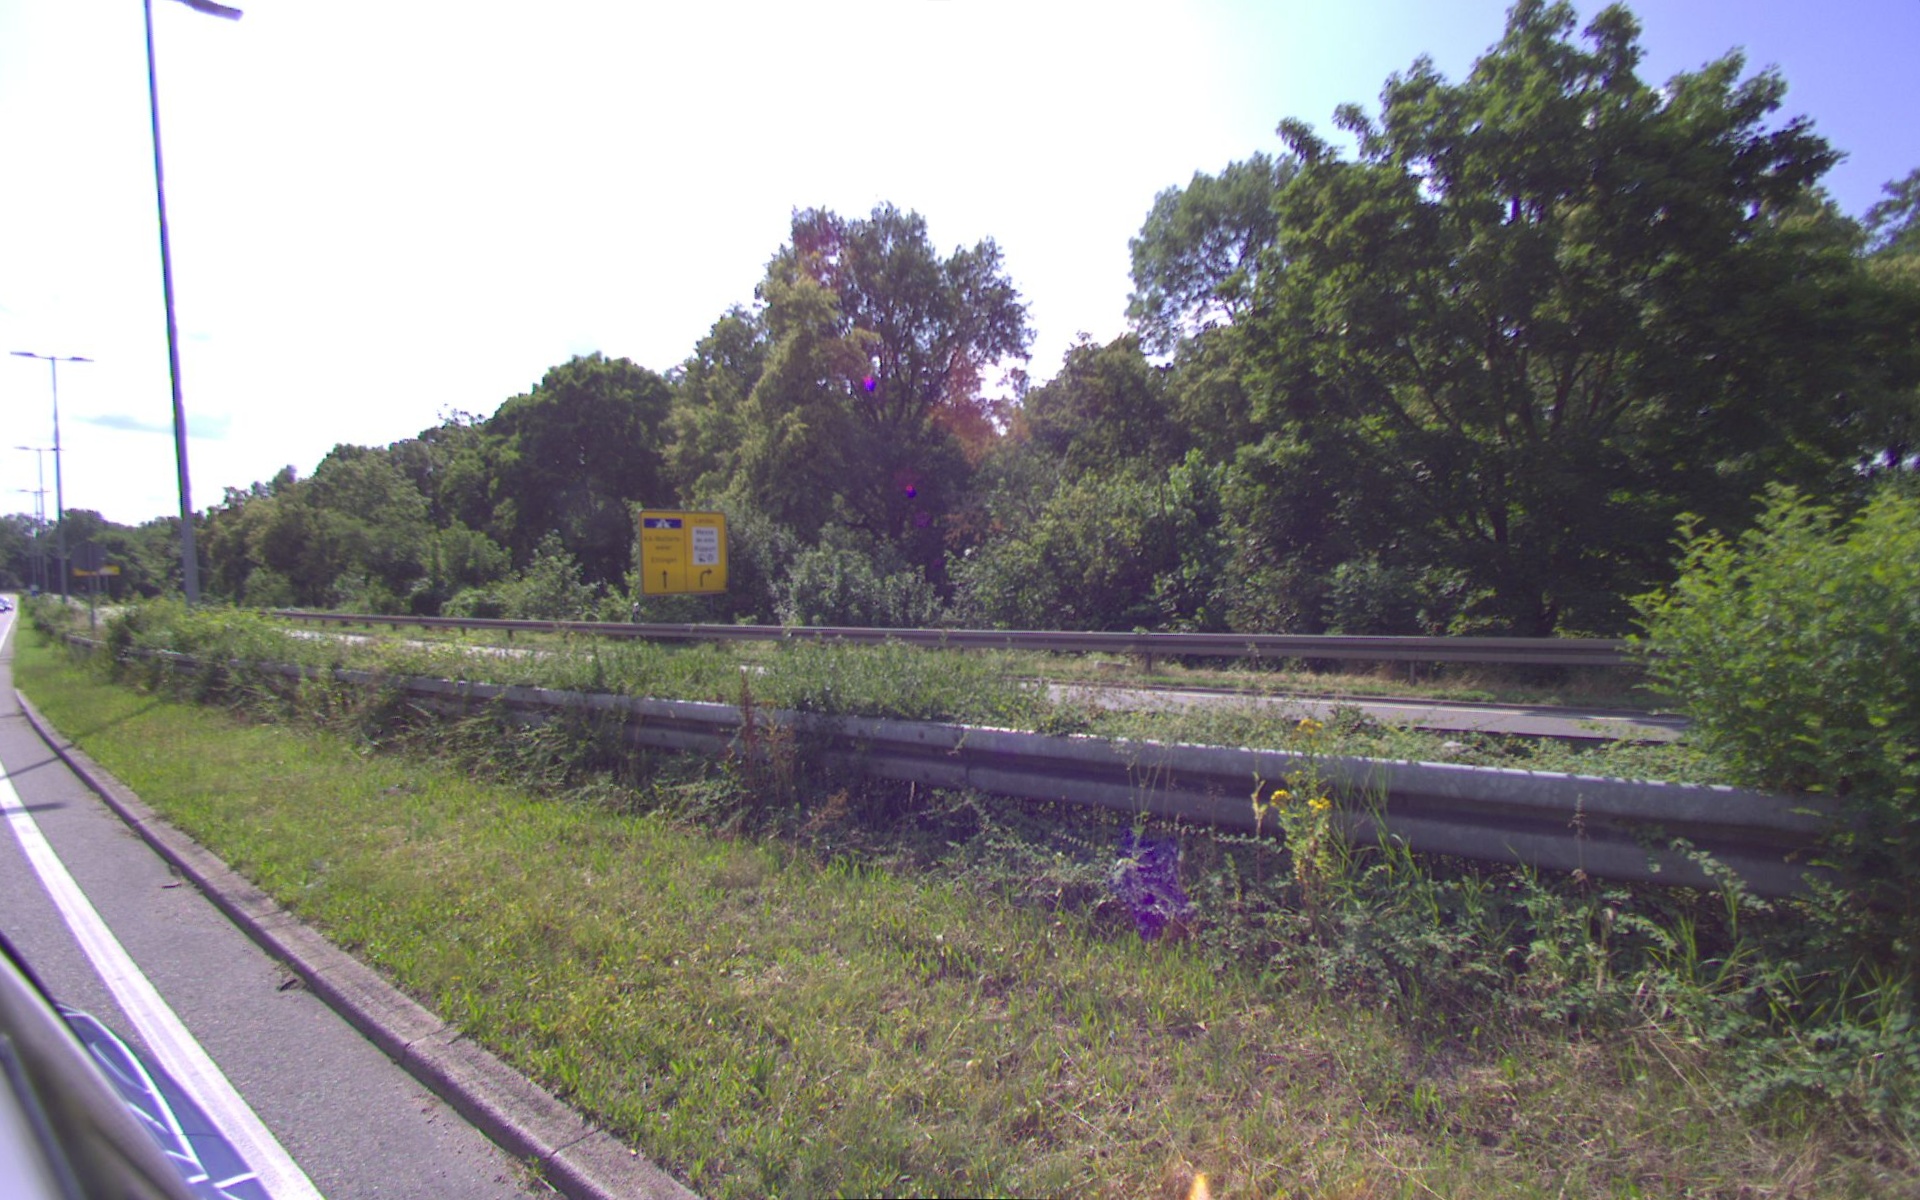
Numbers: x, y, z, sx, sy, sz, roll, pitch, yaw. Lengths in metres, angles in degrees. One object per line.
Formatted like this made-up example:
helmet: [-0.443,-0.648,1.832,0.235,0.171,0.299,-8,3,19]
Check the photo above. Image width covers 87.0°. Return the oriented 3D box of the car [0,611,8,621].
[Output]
car: [-141.142,2.370,148.724,1.771,1.386,4.004,-2,0,-42]
